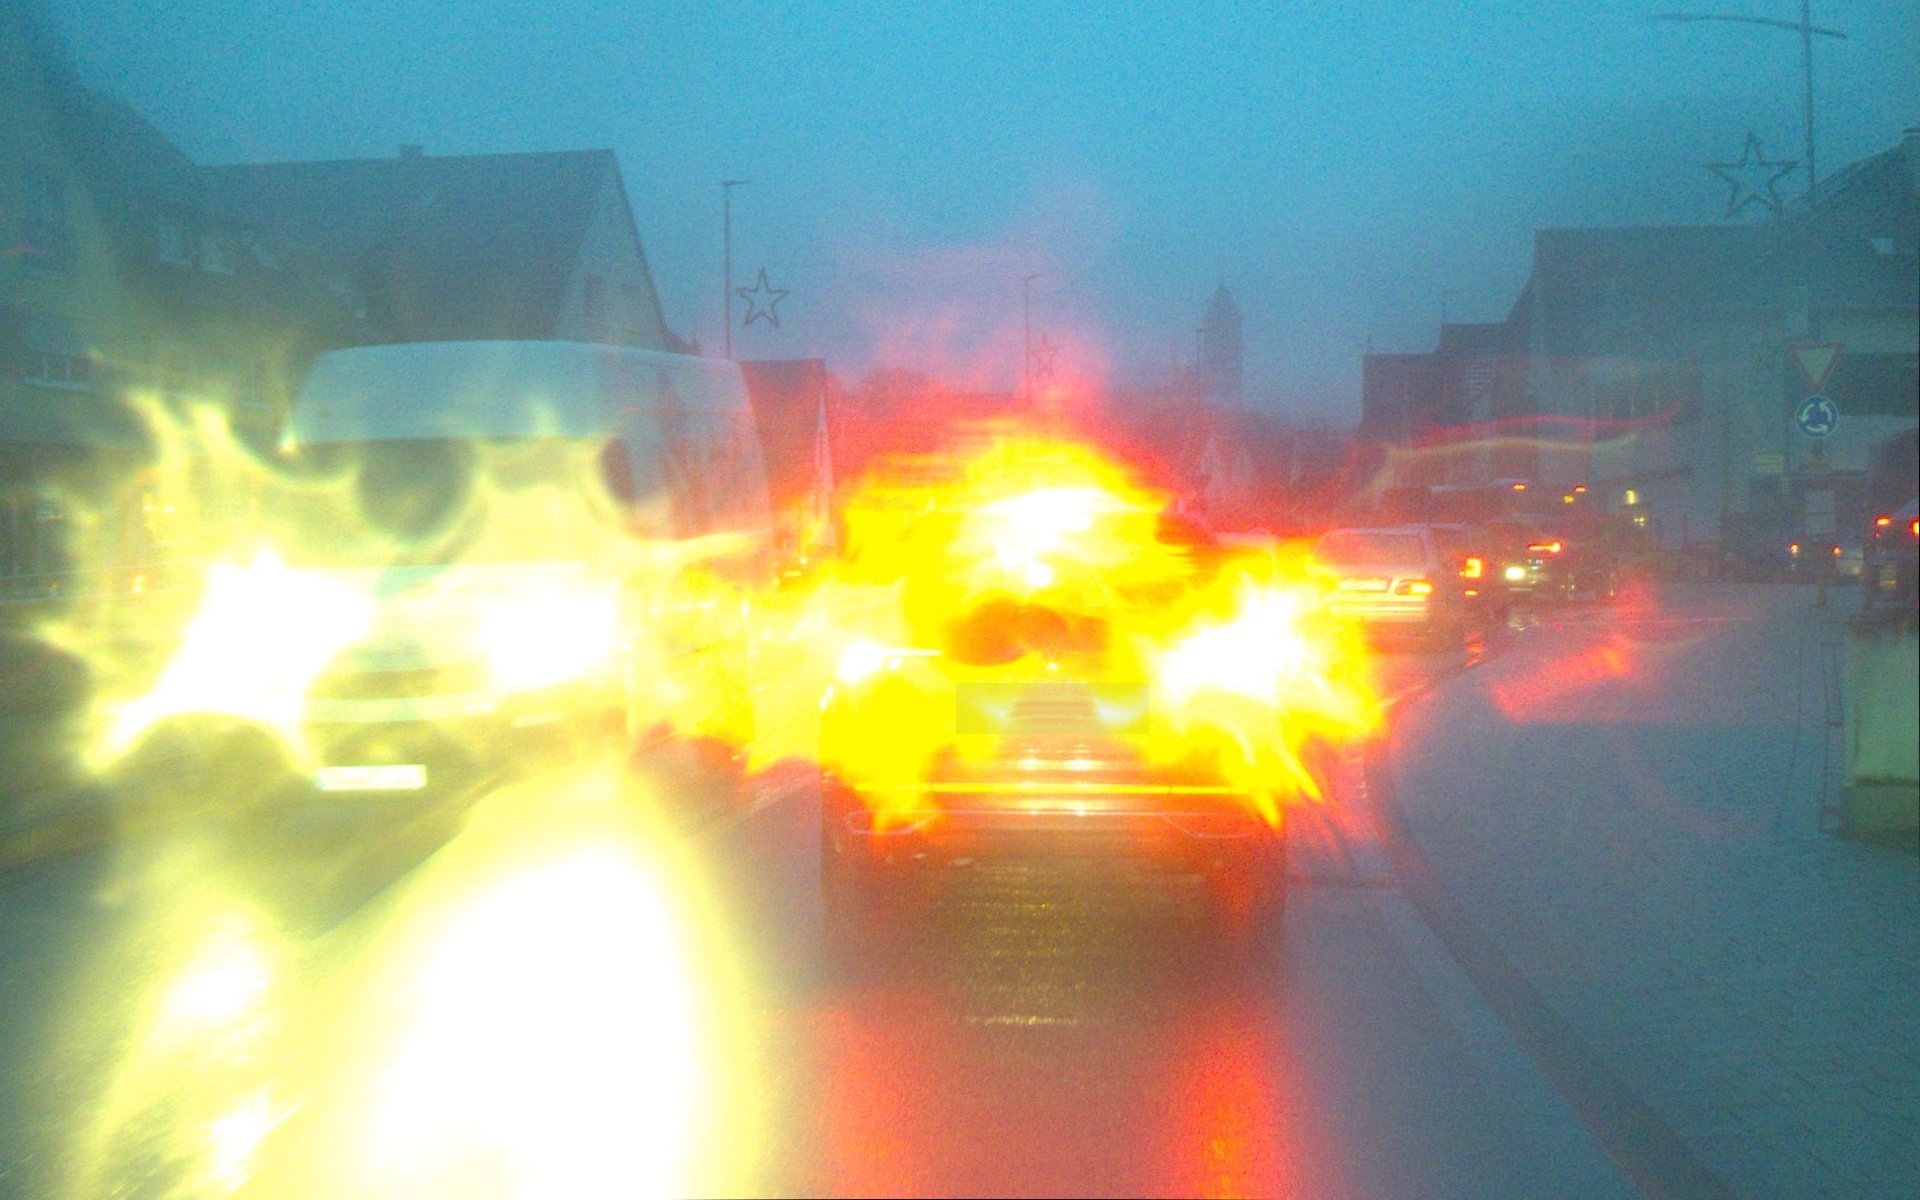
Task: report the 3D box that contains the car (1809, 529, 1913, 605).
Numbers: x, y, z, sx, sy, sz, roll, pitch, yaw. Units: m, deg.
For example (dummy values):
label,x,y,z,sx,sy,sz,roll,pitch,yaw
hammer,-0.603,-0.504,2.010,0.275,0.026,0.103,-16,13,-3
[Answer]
label,x,y,z,sx,sy,sz,roll,pitch,yaw
car,19.113,-0.712,72.869,1.567,1.408,3.597,-4,0,23

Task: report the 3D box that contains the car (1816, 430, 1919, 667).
label,x,y,z,sx,sy,sz,roll,pitch,yaw
car,9.799,-0.624,29.227,4.564,1.914,1.949,-6,-1,9

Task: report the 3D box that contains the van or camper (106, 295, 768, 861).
label,x,y,z,sx,sy,sz,roll,pitch,yaw
van or camper,-2.678,-0.166,19.628,2.241,2.660,6.554,-1,1,5

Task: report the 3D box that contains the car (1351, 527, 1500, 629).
label,x,y,z,sx,sy,sz,roll,pitch,yaw
car,6.777,-0.351,49.772,1.994,1.387,3.999,0,1,10

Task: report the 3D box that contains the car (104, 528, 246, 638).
label,x,y,z,sx,sy,sz,roll,pitch,yaw
car,-12.203,-0.294,53.301,1.821,1.607,4.058,-1,1,-17

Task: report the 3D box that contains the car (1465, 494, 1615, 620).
label,x,y,z,sx,sy,sz,roll,pitch,yaw
car,10.158,-0.766,59.950,2.159,1.984,4.497,-4,0,14

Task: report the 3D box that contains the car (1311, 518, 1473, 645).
label,x,y,z,sx,sy,sz,roll,pitch,yaw
car,5.169,-0.258,41.339,1.815,1.407,3.999,1,2,7

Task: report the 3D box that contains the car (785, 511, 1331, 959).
label,x,y,z,sx,sy,sz,roll,pitch,yaw
car,0.505,0.430,14.637,1.964,1.589,4.313,1,2,4

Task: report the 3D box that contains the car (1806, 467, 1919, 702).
label,x,y,z,sx,sy,sz,roll,pitch,yaw
car,8.695,-0.351,25.689,4.176,1.633,1.804,-7,1,2

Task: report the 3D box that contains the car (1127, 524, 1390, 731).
label,x,y,z,sx,sy,sz,roll,pitch,yaw
car,2.459,0.168,27.535,1.683,1.448,3.999,-2,1,10

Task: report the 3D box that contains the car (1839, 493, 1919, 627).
label,x,y,z,sx,sy,sz,roll,pitch,yaw
car,12.290,-0.551,38.931,4.206,1.455,1.793,-3,0,4
